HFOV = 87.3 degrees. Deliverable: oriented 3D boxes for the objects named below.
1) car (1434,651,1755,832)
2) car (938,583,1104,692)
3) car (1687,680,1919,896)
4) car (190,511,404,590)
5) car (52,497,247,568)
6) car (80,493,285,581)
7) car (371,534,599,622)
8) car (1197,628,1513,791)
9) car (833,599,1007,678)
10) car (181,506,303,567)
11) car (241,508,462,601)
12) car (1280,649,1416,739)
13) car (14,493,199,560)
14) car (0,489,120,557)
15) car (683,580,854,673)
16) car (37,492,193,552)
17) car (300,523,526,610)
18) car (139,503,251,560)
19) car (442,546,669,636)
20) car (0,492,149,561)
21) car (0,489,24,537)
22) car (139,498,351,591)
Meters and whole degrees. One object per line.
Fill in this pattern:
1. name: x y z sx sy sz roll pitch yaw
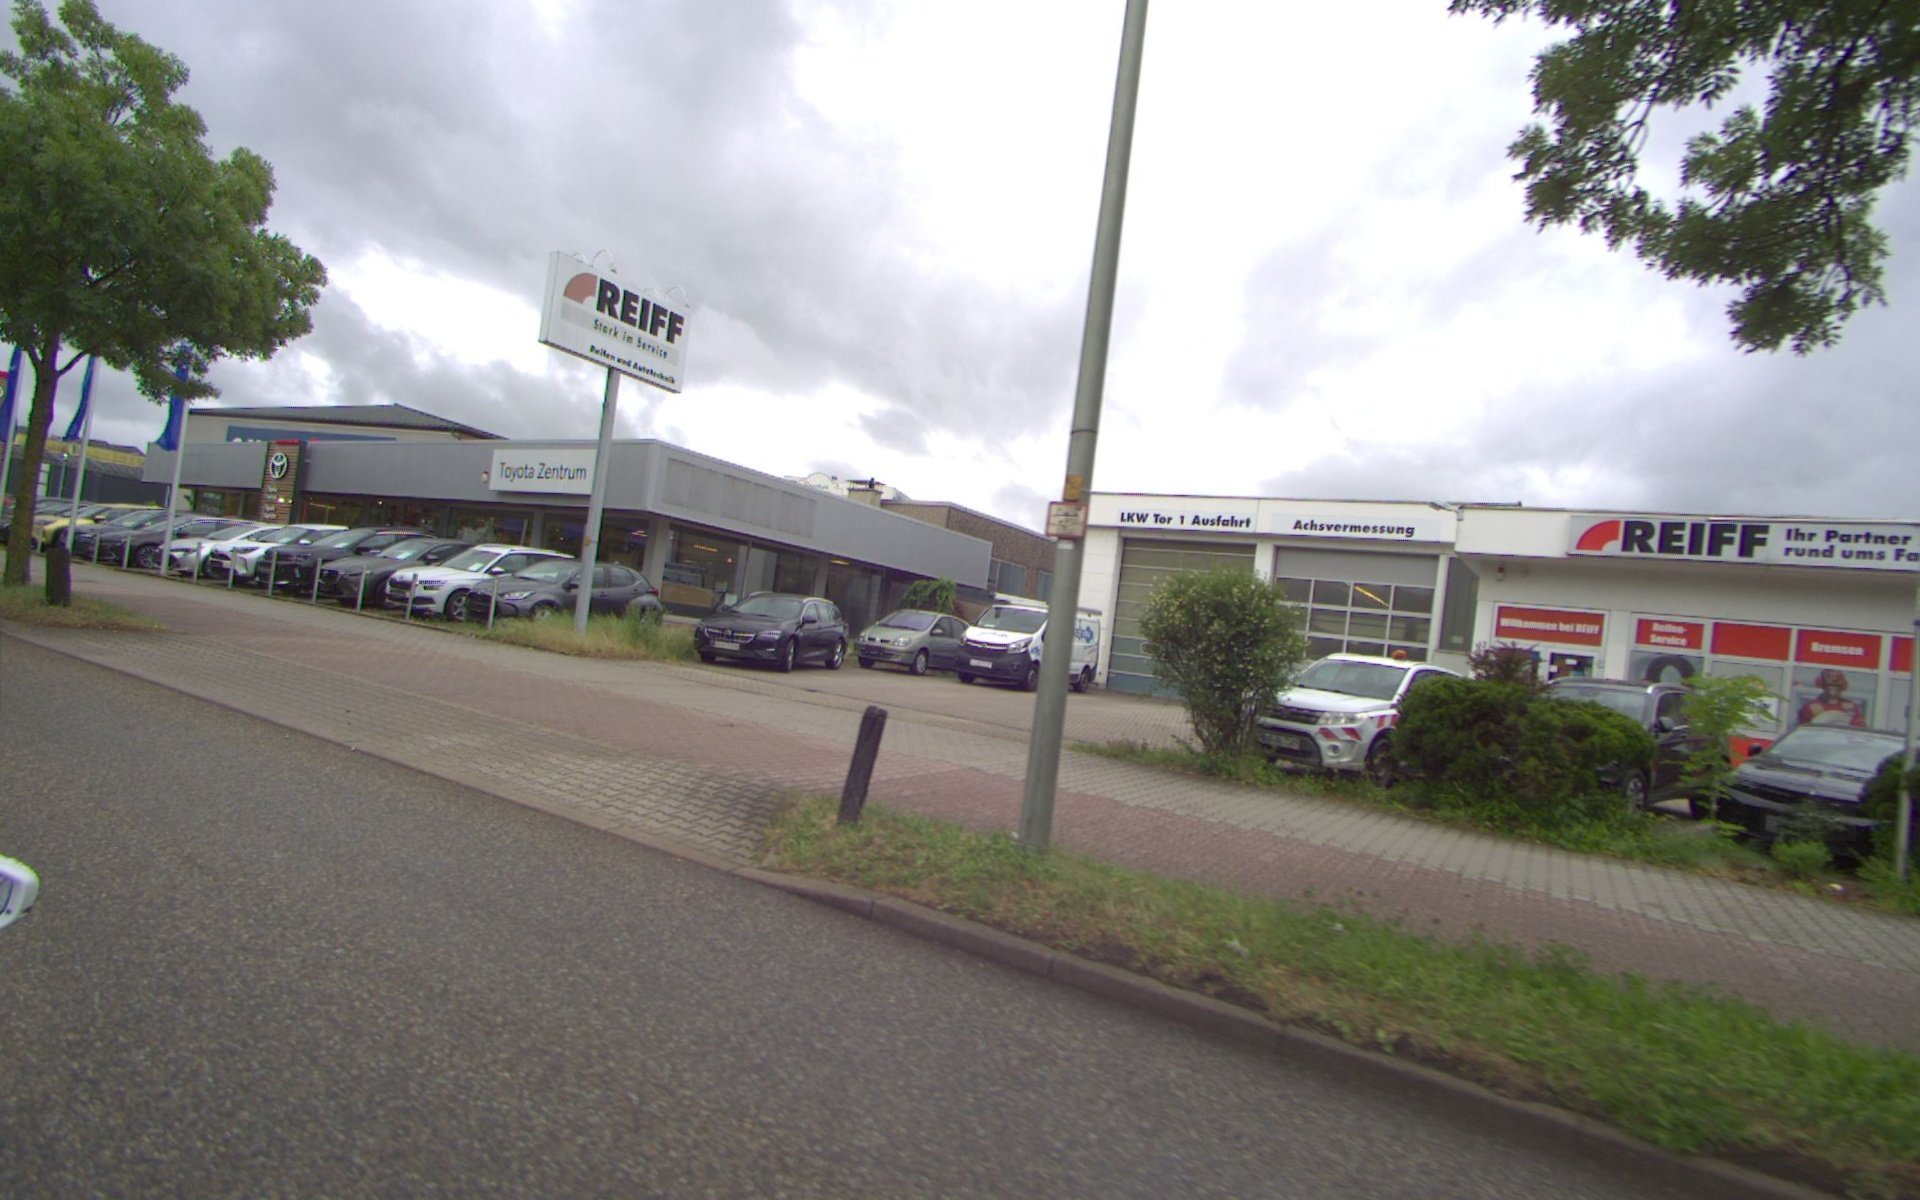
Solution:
1. car: 7.916 1.745 12.434 4.119 1.683 1.803 8 1 -36
2. car: 1.602 0.994 24.354 1.932 2.175 4.662 7 -1 30
3. car: 9.854 1.981 10.952 4.119 1.683 1.803 8 1 -36
4. car: -16.202 -1.169 24.785 1.781 1.610 3.988 7 4 29
5. car: -23.195 -1.893 28.934 1.682 1.567 3.988 7 2 32
6. car: -21.327 -1.684 27.750 1.782 1.808 3.992 7 -1 32
7. car: -9.922 -0.417 21.288 1.782 1.564 3.986 7 3 32
8. car: 5.175 1.428 12.978 4.037 1.616 1.963 8 -1 -39
9. car: -0.883 1.026 25.316 1.967 1.515 4.660 7 -1 32
10. car: -24.847 -2.194 34.793 4.054 1.642 1.876 7 0 31
11. car: -14.044 -1.000 23.433 1.782 1.811 3.986 7 3 32
12. car: 8.471 2.053 21.768 1.951 1.520 4.063 7 -2 31
13. car: -25.324 -2.145 29.998 1.638 1.587 3.842 6 2 27
14. car: -29.487 -2.533 31.818 1.814 1.666 3.997 7 -2 30
15. car: -3.700 0.575 20.133 1.760 1.481 3.694 7 -1 16
16. car: -32.141 -2.928 38.370 1.850 1.642 4.111 7 0 34
17. car: -12.011 -0.690 22.325 1.782 1.606 3.986 7 3 32
18. car: -28.404 -2.550 37.323 4.054 1.642 1.876 7 0 31
19. car: -7.889 -0.144 19.942 1.797 1.481 3.834 7 2 30
20. car: -27.601 -2.270 30.707 1.769 1.557 3.995 7 -1 30
21. car: -34.787 -3.204 34.290 1.765 1.624 3.845 7 1 30
22. car: -18.453 -1.386 26.149 1.782 1.808 3.992 7 -1 32
